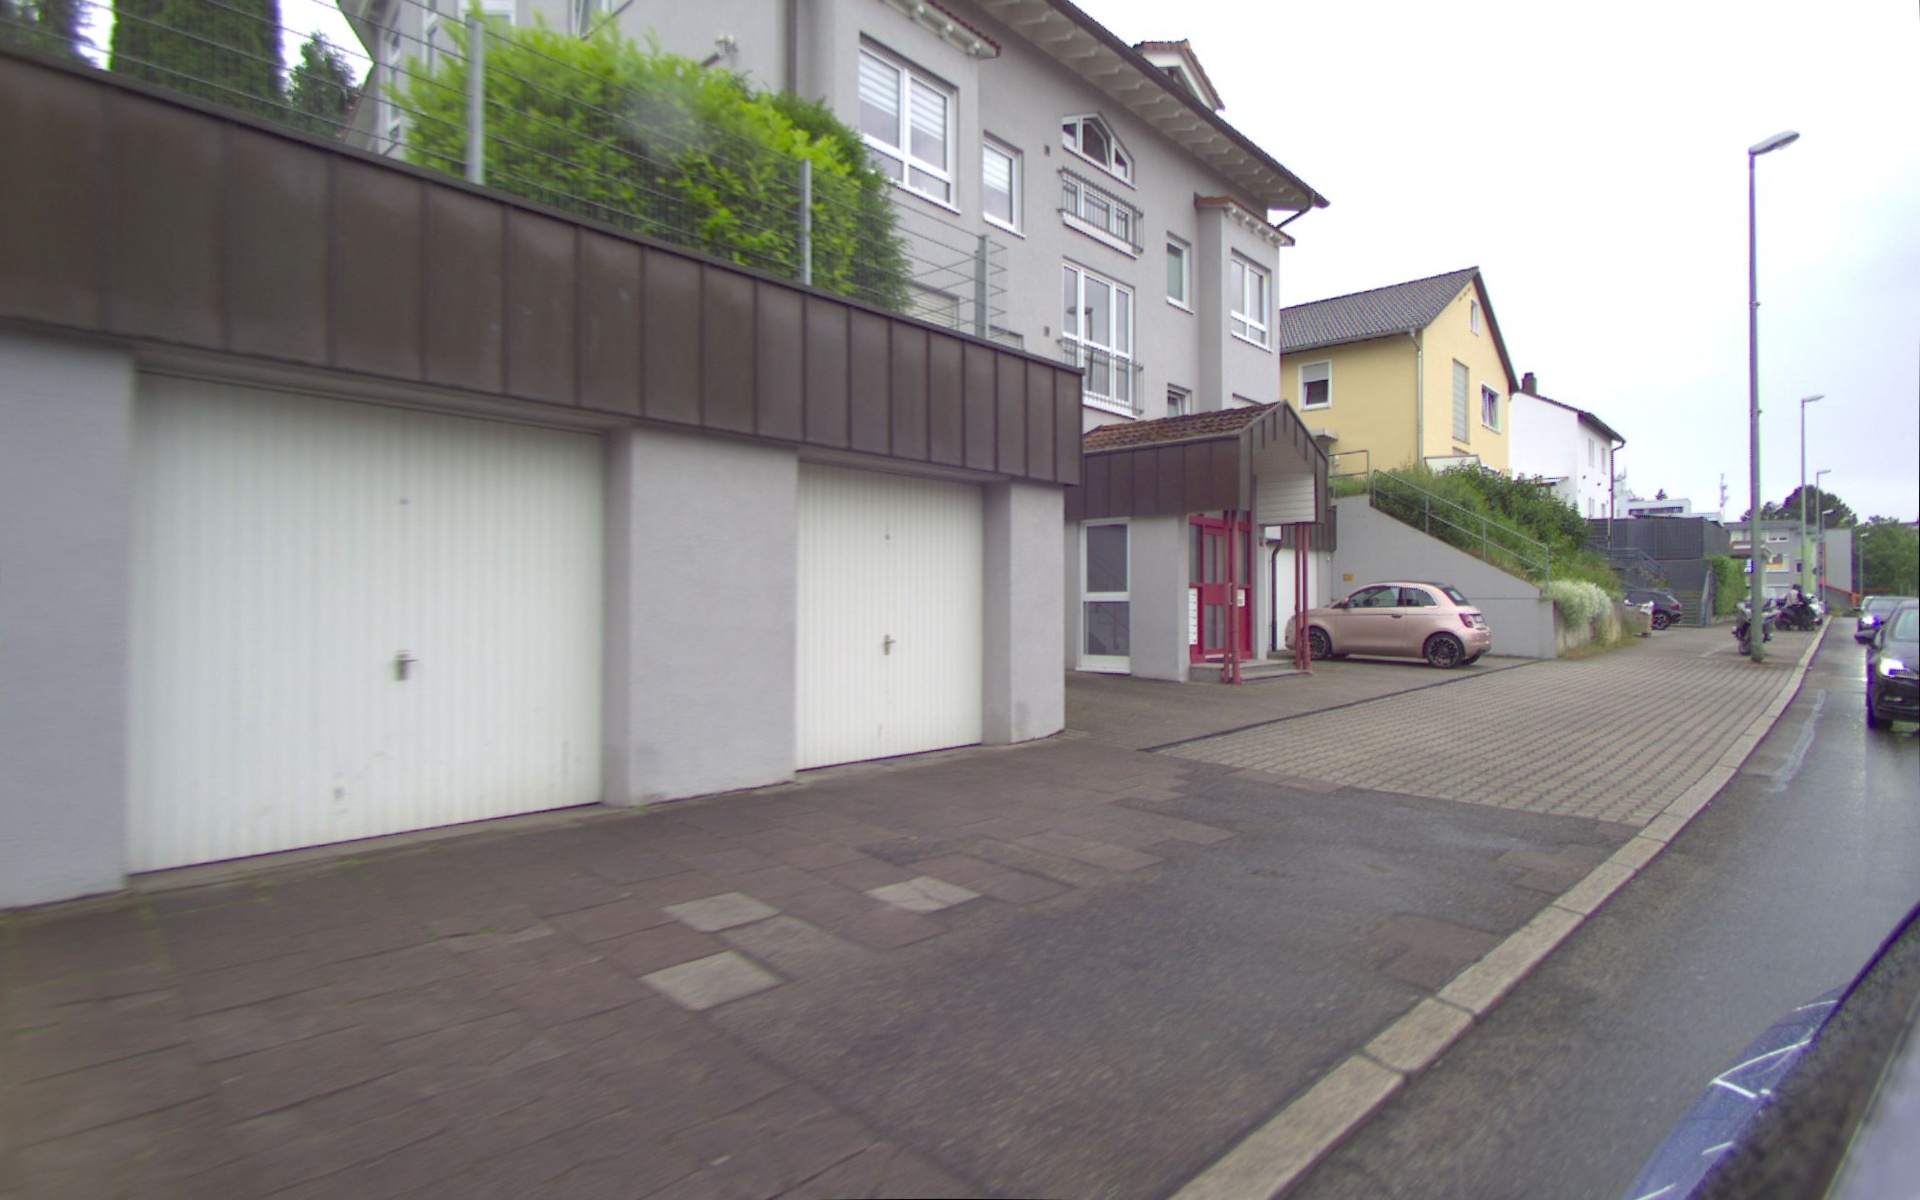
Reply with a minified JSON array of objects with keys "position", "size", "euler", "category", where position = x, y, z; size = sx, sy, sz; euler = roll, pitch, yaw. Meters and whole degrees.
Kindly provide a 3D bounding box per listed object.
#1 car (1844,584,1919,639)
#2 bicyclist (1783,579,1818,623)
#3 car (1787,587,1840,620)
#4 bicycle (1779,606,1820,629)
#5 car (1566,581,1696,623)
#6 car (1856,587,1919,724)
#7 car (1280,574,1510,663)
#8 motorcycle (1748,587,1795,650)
[{"position":[29.592,0.386,32.403],"size":[1.836,1.476,3.937],"euler":[2,-2,43],"category":"car"},{"position":[32.386,0.033,38.996],"size":[0.889,1.663,0.810],"euler":[0,1,-38],"category":"bicyclist"},{"position":[41.103,0.132,48.695],"size":[1.732,1.508,3.938],"euler":[2,2,43],"category":"car"},{"position":[32.384,0.671,39.024],"size":[2.193,0.837,0.733],"euler":[0,1,-38],"category":"bicycle"},{"position":[25.120,0.035,37.950],"size":[3.977,1.420,1.652],"euler":[2,2,37],"category":"car"},{"position":[11.762,0.596,11.605],"size":[3.932,1.415,1.838],"euler":[0,2,-43],"category":"car"},{"position":[8.079,0.289,18.920],"size":[3.625,1.504,1.787],"euler":[1,1,39],"category":"car"},{"position":[18.354,0.383,22.874],"size":[0.692,1.341,2.442],"euler":[2,1,41],"category":"motorcycle"}]
